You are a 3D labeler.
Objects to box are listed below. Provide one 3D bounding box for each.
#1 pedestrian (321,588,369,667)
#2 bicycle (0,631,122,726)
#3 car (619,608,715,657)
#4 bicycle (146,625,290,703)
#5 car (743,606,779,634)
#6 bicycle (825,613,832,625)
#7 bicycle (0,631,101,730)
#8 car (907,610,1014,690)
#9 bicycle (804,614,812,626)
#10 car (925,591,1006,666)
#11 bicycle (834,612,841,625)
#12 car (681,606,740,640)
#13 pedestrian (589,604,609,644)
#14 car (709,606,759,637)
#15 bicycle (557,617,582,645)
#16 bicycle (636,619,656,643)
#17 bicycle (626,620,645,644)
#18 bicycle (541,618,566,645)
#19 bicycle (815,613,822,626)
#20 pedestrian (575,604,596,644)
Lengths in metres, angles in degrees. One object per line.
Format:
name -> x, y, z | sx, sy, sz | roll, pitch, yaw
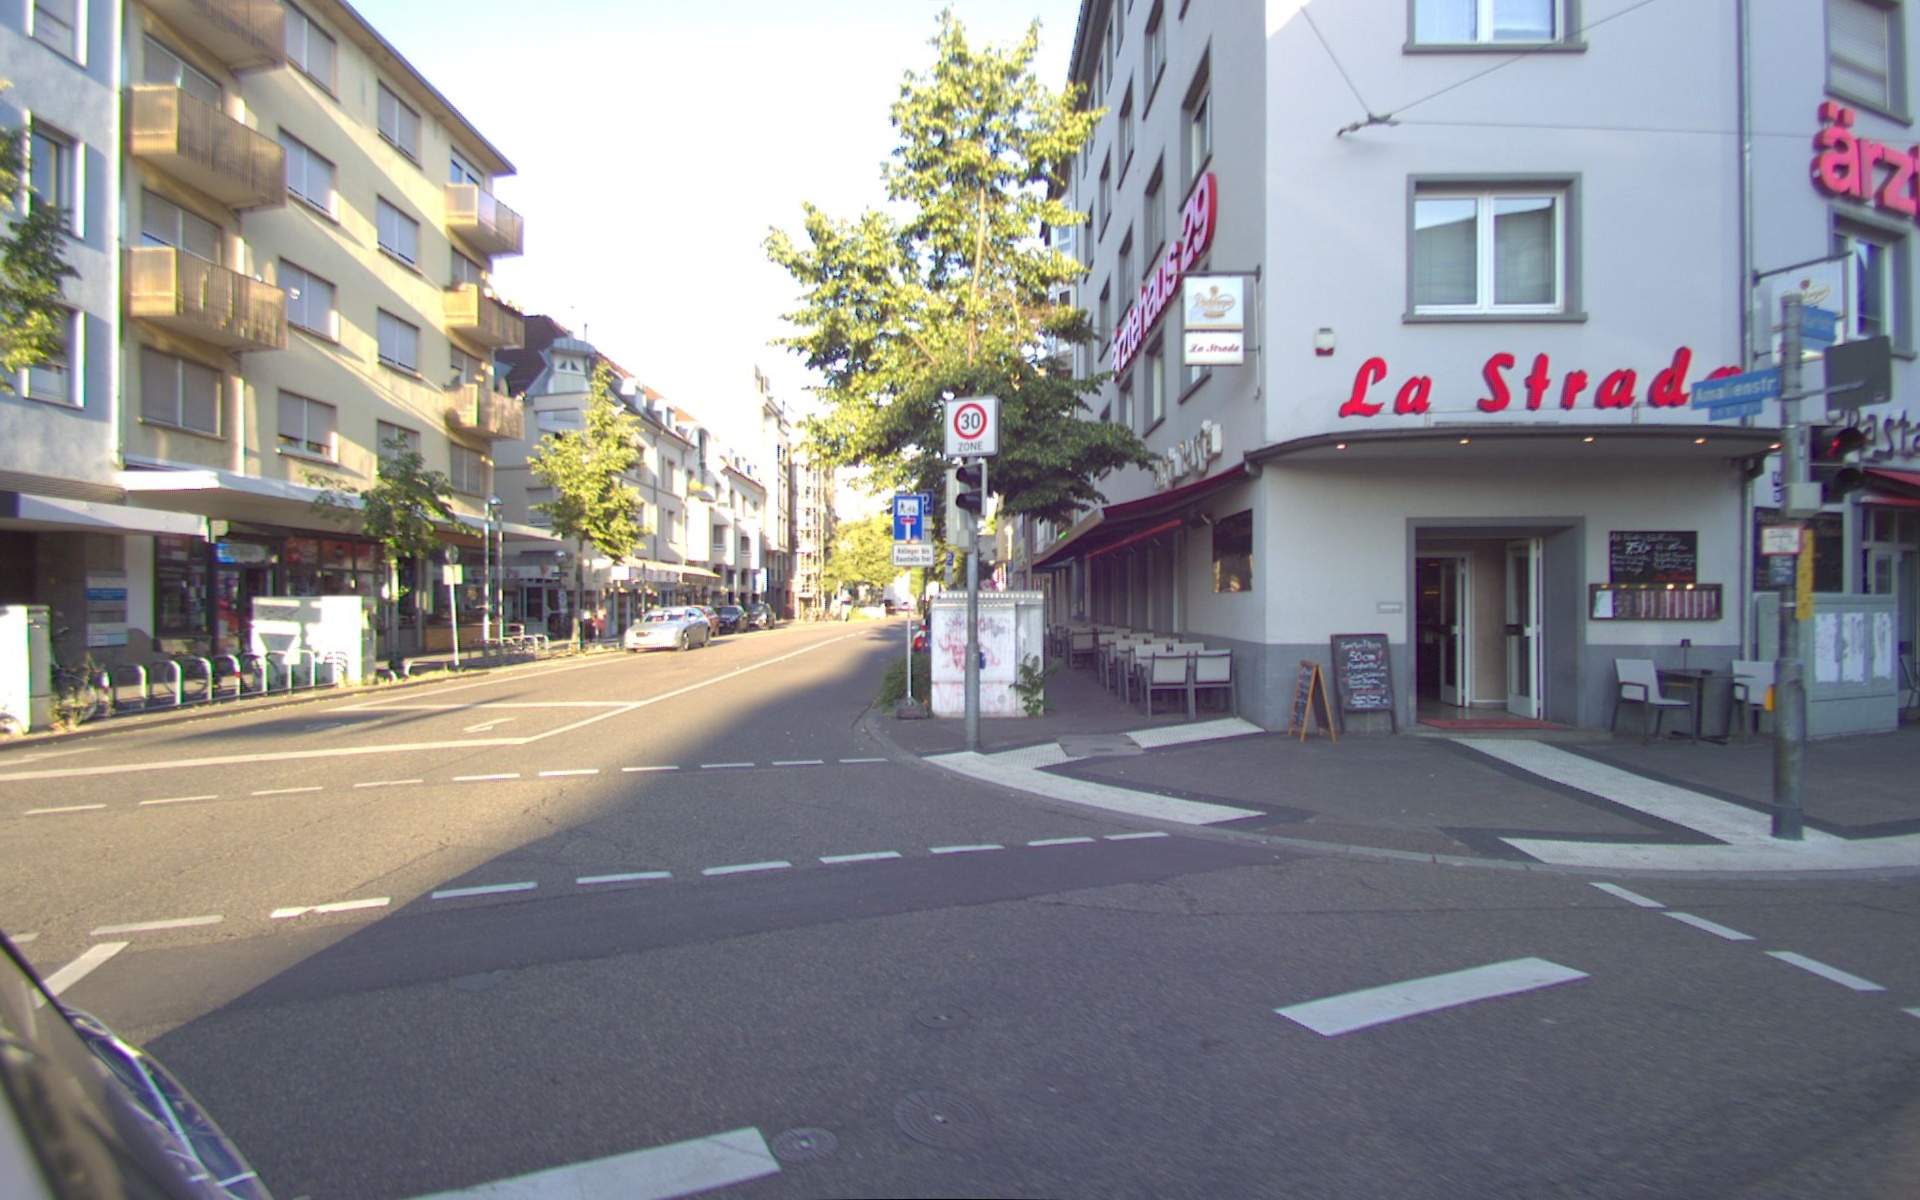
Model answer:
pedestrian -> -14.673, 0.651, 24.160 | 0.700, 1.821, 0.650 | -2, -1, 1
bicycle -> -12.105, 1.017, 13.277 | 1.893, 1.213, 0.469 | 0, 0, 3
car -> -9.343, 0.982, 32.617 | 1.781, 1.388, 4.552 | -2, 0, -1
bicycle -> -12.097, 1.031, 16.531 | 1.888, 1.213, 0.471 | 0, 0, -10
car -> -11.442, 1.140, 58.401 | 1.550, 1.561, 2.803 | 1, 0, -1
bicycle -> -10.589, 1.525, 81.344 | 0.463, 0.965, 1.921 | 0, 0, -5
bicycle -> -11.960, 1.004, 12.780 | 1.893, 1.213, 0.469 | 0, 0, 3
car -> -0.015, 0.919, 20.242 | 1.894, 1.397, 4.382 | 1, 0, 0
bicycle -> -12.142, 1.583, 80.883 | 0.463, 0.965, 1.921 | 0, 0, -5
car -> 0.064, 0.701, 26.683 | 1.893, 1.801, 4.151 | 1, 0, -3
bicycle -> -9.850, 1.496, 81.451 | 0.463, 0.965, 1.921 | 0, 0, -5
car -> -11.188, 0.992, 45.608 | 1.704, 1.432, 4.032 | 1, 0, -1
pedestrian -> -14.046, 0.938, 39.385 | 0.535, 1.542, 0.553 | -1, -1, 6
car -> -11.252, 1.048, 50.551 | 1.704, 1.432, 3.749 | 1, 0, -1
bicycle -> -15.734, 1.238, 40.851 | 0.386, 1.058, 1.846 | 0, 0, -3
bicycle -> -13.142, 1.306, 42.394 | 0.386, 0.963, 1.616 | 0, 0, -3
bicycle -> -13.579, 1.323, 42.367 | 0.386, 0.964, 1.641 | 0, 0, -3
bicycle -> -16.403, 1.244, 40.852 | 0.386, 1.041, 1.846 | 0, 0, -3
bicycle -> -11.377, 1.556, 81.191 | 0.463, 0.965, 1.921 | 0, 0, -5
pedestrian -> -14.638, 0.937, 39.562 | 0.535, 1.542, 0.649 | -1, 0, 6
